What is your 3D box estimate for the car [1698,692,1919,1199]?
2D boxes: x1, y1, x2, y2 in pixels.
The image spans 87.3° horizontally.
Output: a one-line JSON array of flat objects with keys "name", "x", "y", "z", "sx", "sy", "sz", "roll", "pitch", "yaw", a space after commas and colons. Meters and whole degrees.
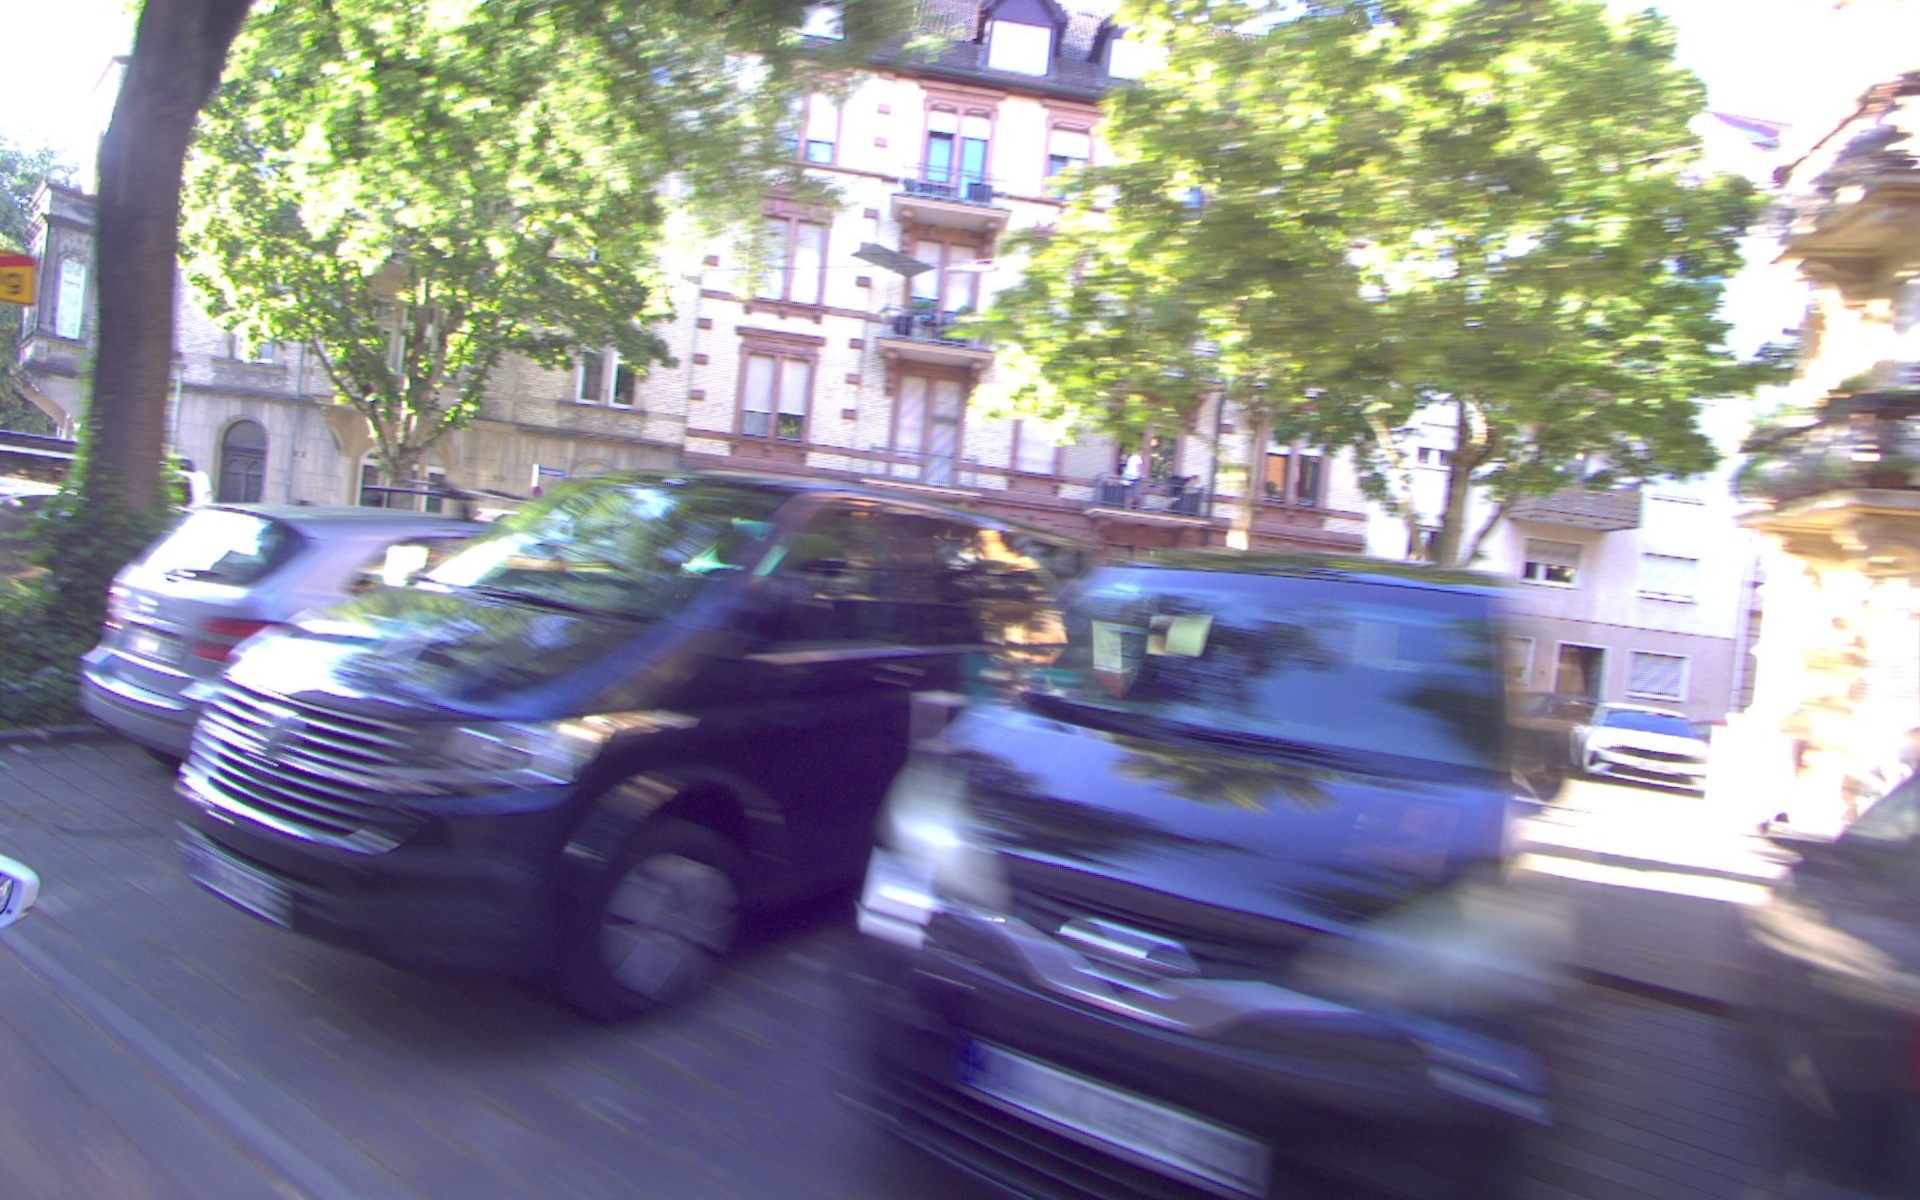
[{"name": "car", "x": 3.238, "y": 1.113, "z": 2.660, "sx": 1.861, "sy": 1.465, "sz": 3.988, "roll": 7, "pitch": 0, "yaw": 36}]

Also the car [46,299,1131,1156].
[{"name": "car", "x": -0.981, "y": 0.358, "z": 4.882, "sx": 1.966, "sy": 2.038, "sz": 4.623, "roll": 7, "pitch": 0, "yaw": 29}]

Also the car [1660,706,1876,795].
[{"name": "car", "x": 20.885, "y": 3.870, "z": 26.103, "sx": 4.170, "sy": 1.601, "sz": 1.865, "roll": 7, "pitch": 0, "yaw": -6}]

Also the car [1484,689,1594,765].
[{"name": "car", "x": 14.570, "y": 3.140, "z": 25.529, "sx": 1.818, "sy": 1.389, "sz": 3.998, "roll": 7, "pitch": 0, "yaw": 24}]

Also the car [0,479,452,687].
[{"name": "car", "x": -7.054, "y": -0.100, "z": 9.178, "sx": 1.817, "sy": 1.534, "sz": 3.846, "roll": 7, "pitch": 0, "yaw": 31}]

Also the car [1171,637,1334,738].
[{"name": "car", "x": 5.142, "y": 1.449, "z": 17.284, "sx": 1.831, "sy": 1.292, "sz": 4.063, "roll": 7, "pitch": 0, "yaw": 27}]

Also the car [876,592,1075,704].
[{"name": "car", "x": 0.433, "y": 0.853, "z": 17.701, "sx": 1.880, "sy": 1.523, "sz": 4.305, "roll": 7, "pitch": 0, "yaw": 23}]

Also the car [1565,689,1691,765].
[{"name": "car", "x": 16.649, "y": 3.101, "z": 25.287, "sx": 1.818, "sy": 1.389, "sz": 3.998, "roll": 7, "pitch": 0, "yaw": 24}]

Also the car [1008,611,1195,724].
[{"name": "car", "x": 2.576, "y": 1.167, "z": 17.401, "sx": 1.831, "sy": 1.528, "sz": 4.064, "roll": 7, "pitch": -1, "yaw": 27}]

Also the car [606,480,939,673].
[{"name": "car", "x": -2.845, "y": -0.195, "z": 17.184, "sx": 2.338, "sy": 2.568, "sz": 5.910, "roll": 7, "pitch": -1, "yaw": 25}]

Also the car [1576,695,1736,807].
[{"name": "car", "x": 12.125, "y": 2.540, "z": 17.796, "sx": 1.820, "sy": 1.389, "sz": 4.403, "roll": 7, "pitch": 0, "yaw": 30}]

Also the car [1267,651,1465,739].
[{"name": "car", "x": 10.256, "y": 2.381, "z": 25.591, "sx": 4.170, "sy": 1.601, "sz": 1.865, "roll": 7, "pitch": 0, "yaw": -6}]

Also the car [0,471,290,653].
[{"name": "car", "x": -9.360, "y": -0.425, "z": 10.165, "sx": 1.712, "sy": 1.615, "sz": 3.846, "roll": 7, "pitch": 0, "yaw": 31}]

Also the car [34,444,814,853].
[{"name": "car", "x": -2.953, "y": 0.274, "z": 6.477, "sx": 1.770, "sy": 1.713, "sz": 3.993, "roll": 7, "pitch": 0, "yaw": 30}]

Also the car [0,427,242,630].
[{"name": "car", "x": -11.574, "y": -0.951, "z": 11.461, "sx": 2.071, "sy": 2.121, "sz": 4.980, "roll": 7, "pitch": 0, "yaw": 31}]

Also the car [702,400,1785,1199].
[{"name": "car", "x": 1.295, "y": 0.700, "z": 3.886, "sx": 1.906, "sy": 1.908, "sz": 4.277, "roll": 7, "pitch": 0, "yaw": 28}]
